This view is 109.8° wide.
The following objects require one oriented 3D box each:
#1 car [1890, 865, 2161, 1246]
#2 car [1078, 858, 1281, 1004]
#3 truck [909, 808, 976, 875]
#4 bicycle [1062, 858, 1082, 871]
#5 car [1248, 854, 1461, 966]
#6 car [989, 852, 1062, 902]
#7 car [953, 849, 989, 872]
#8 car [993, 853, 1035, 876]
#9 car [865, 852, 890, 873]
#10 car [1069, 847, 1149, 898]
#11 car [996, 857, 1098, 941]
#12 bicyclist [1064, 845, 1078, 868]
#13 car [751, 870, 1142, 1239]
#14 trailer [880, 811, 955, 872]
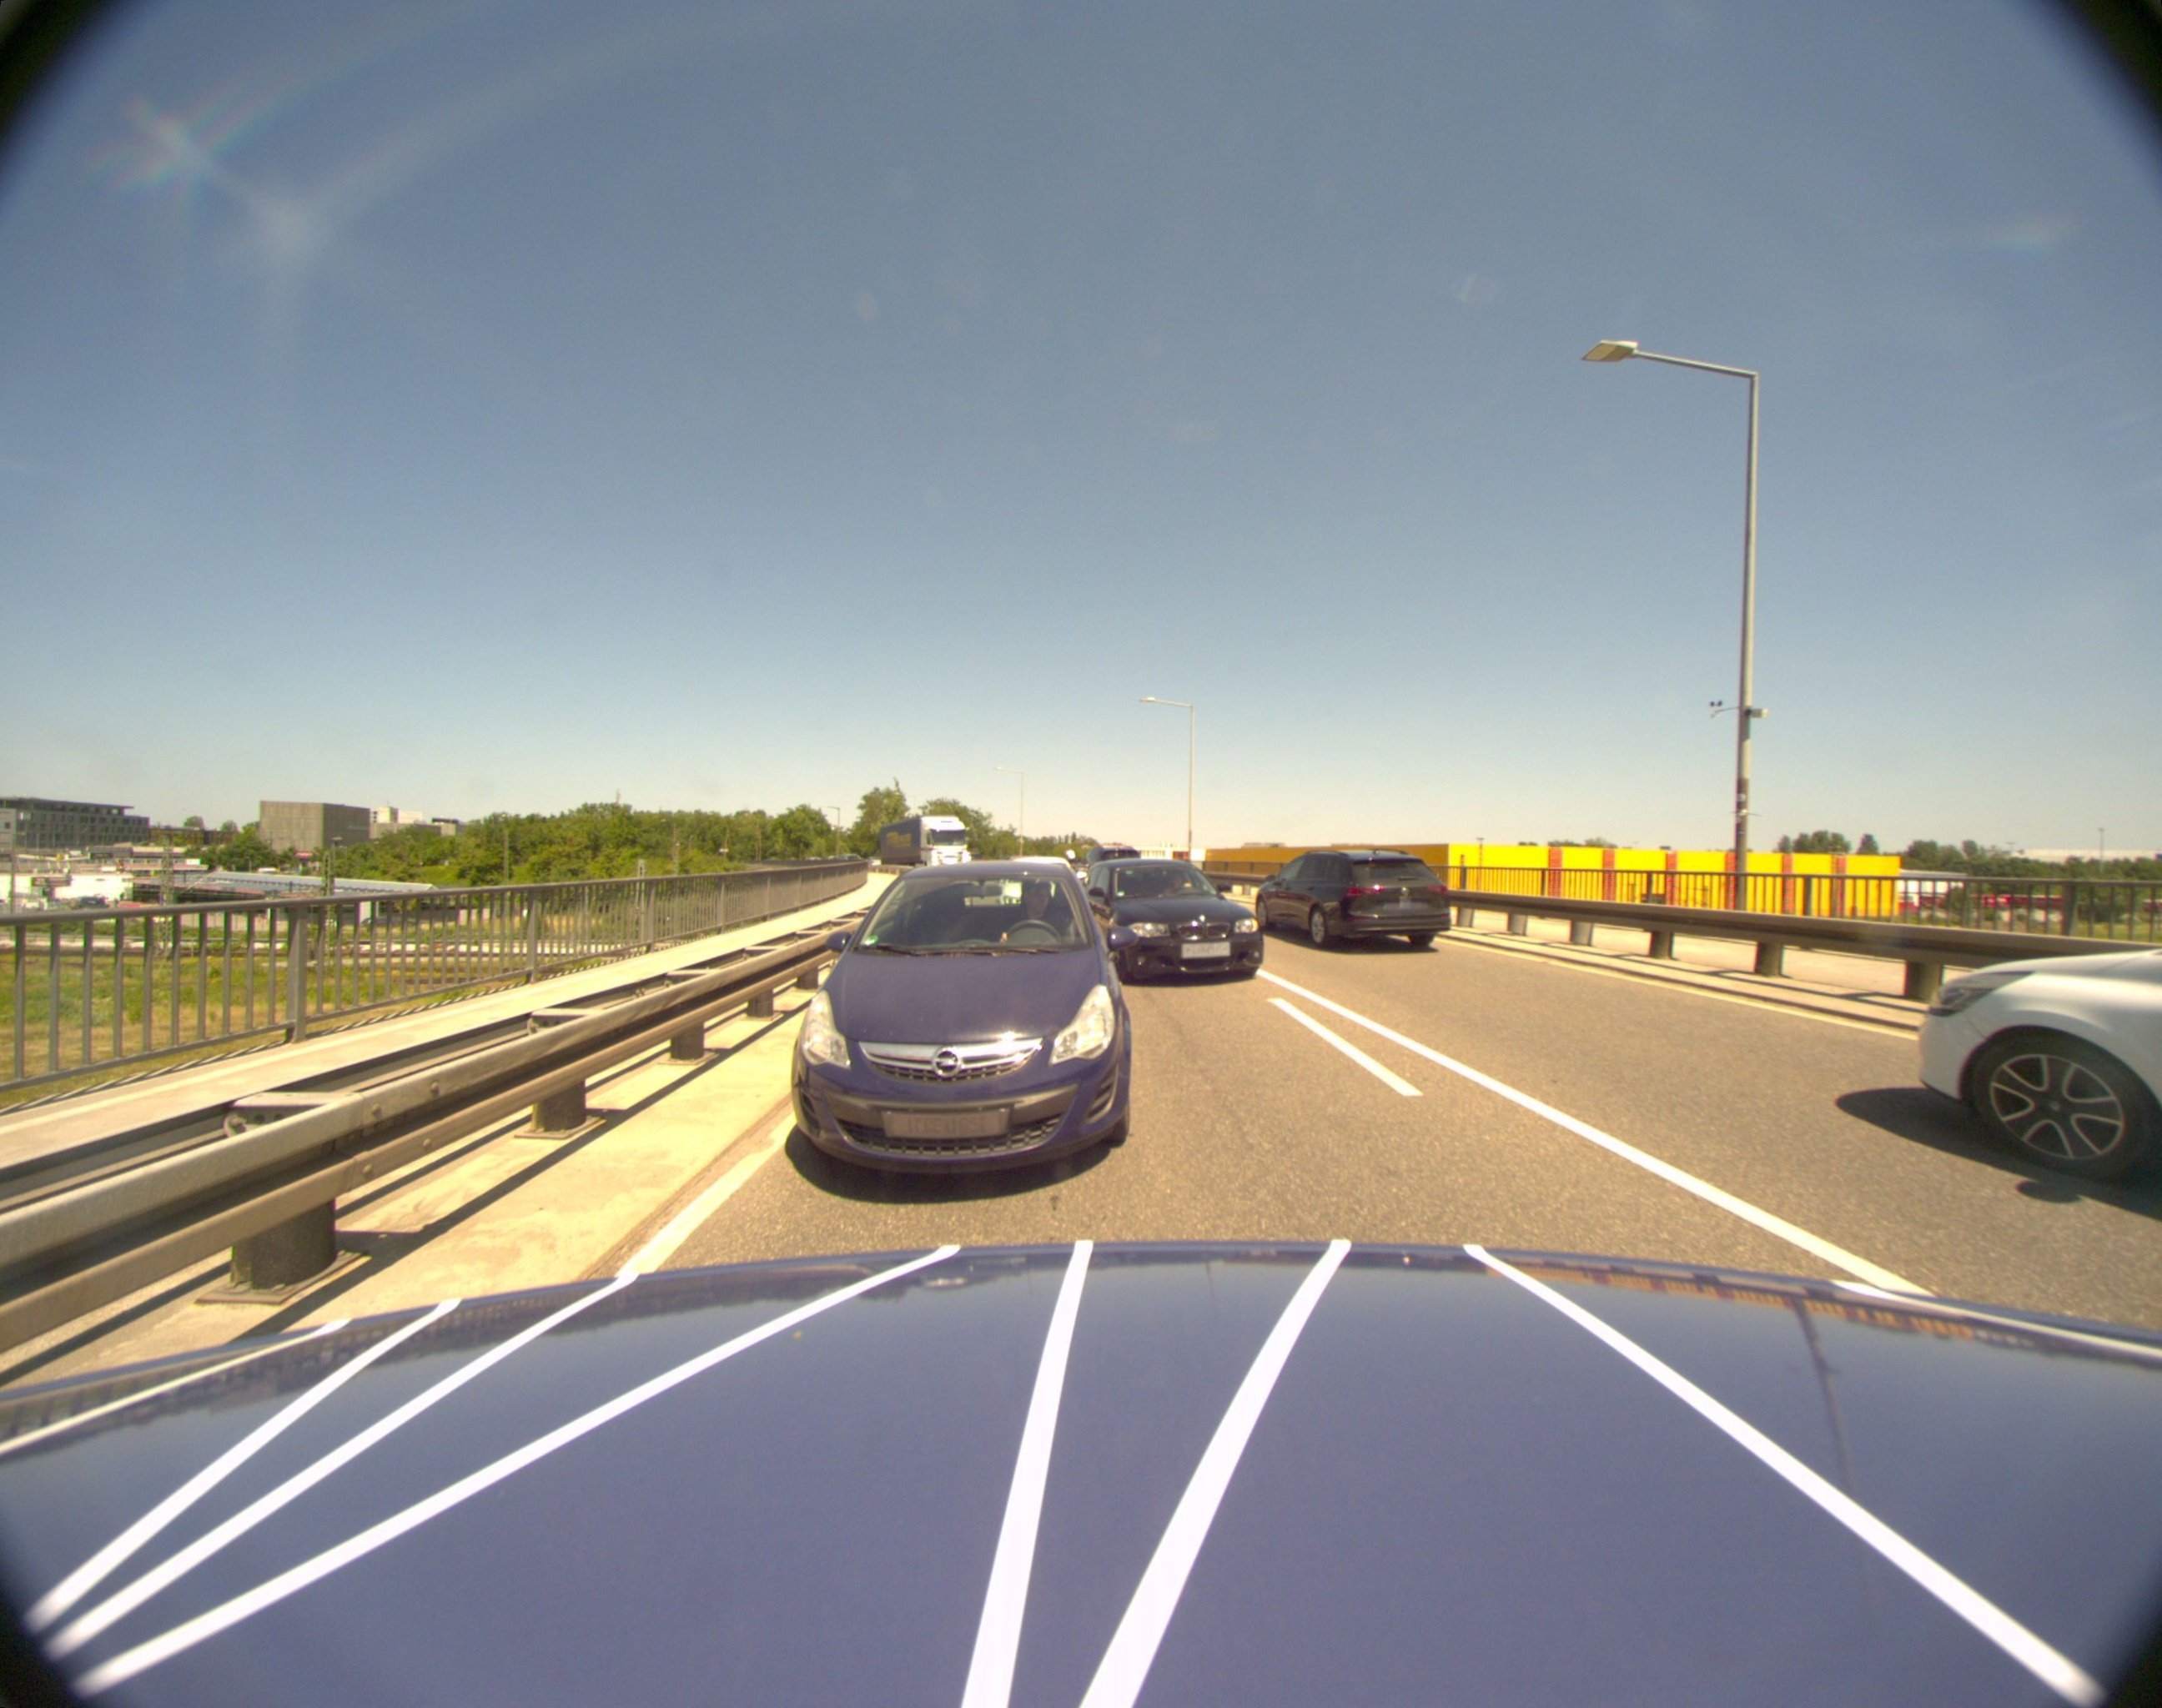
[{"bbox_3d":[5.068,0.807,1.937,1.603,1.441,4.054,-1,1,-3],"label":"car"},{"bbox_3d":[1.072,0.838,10.455,1.795,1.447,4.520,-1,1,-5],"label":"car"},{"bbox_3d":[-9.619,-0.850,52.282,2.700,4.205,6.824,-3,2,-25],"label":"truck"},{"bbox_3d":[-0.607,0.663,49.824,0.591,0.828,1.987,-1,1,-24],"label":"bicycle"},{"bbox_3d":[4.185,0.753,12.466,1.715,1.460,4.458,-1,0,-2],"label":"car"},{"bbox_3d":[-1.928,0.697,25.195,1.796,1.446,4.518,-2,0,-11],"label":"car"},{"bbox_3d":[-8.616,0.474,59.110,1.714,1.617,4.244,-4,2,-23],"label":"car"},{"bbox_3d":[-4.251,0.636,47.742,1.685,1.300,3.966,-1,0,-20],"label":"car"},{"bbox_3d":[-22.472,0.985,83.885,1.763,2.001,3.993,-6,-1,-27],"label":"car"},{"bbox_3d":[0.921,0.606,27.748,1.973,1.663,4.609,-1,0,-10],"label":"car"},{"bbox_3d":[-0.875,0.833,16.371,1.795,1.447,4.519,-2,1,-7],"label":"car"},{"bbox_3d":[-0.654,0.168,49.886,0.586,1.512,0.894,-2,1,-24],"label":"bicyclist"},{"bbox_3d":[-0.692,0.908,5.312,1.645,1.431,3.998,-2,1,-4],"label":"car"},{"bbox_3d":[-12.967,-0.919,59.262,2.705,4.211,12.685,-3,2,-25],"label":"trailer"}]
